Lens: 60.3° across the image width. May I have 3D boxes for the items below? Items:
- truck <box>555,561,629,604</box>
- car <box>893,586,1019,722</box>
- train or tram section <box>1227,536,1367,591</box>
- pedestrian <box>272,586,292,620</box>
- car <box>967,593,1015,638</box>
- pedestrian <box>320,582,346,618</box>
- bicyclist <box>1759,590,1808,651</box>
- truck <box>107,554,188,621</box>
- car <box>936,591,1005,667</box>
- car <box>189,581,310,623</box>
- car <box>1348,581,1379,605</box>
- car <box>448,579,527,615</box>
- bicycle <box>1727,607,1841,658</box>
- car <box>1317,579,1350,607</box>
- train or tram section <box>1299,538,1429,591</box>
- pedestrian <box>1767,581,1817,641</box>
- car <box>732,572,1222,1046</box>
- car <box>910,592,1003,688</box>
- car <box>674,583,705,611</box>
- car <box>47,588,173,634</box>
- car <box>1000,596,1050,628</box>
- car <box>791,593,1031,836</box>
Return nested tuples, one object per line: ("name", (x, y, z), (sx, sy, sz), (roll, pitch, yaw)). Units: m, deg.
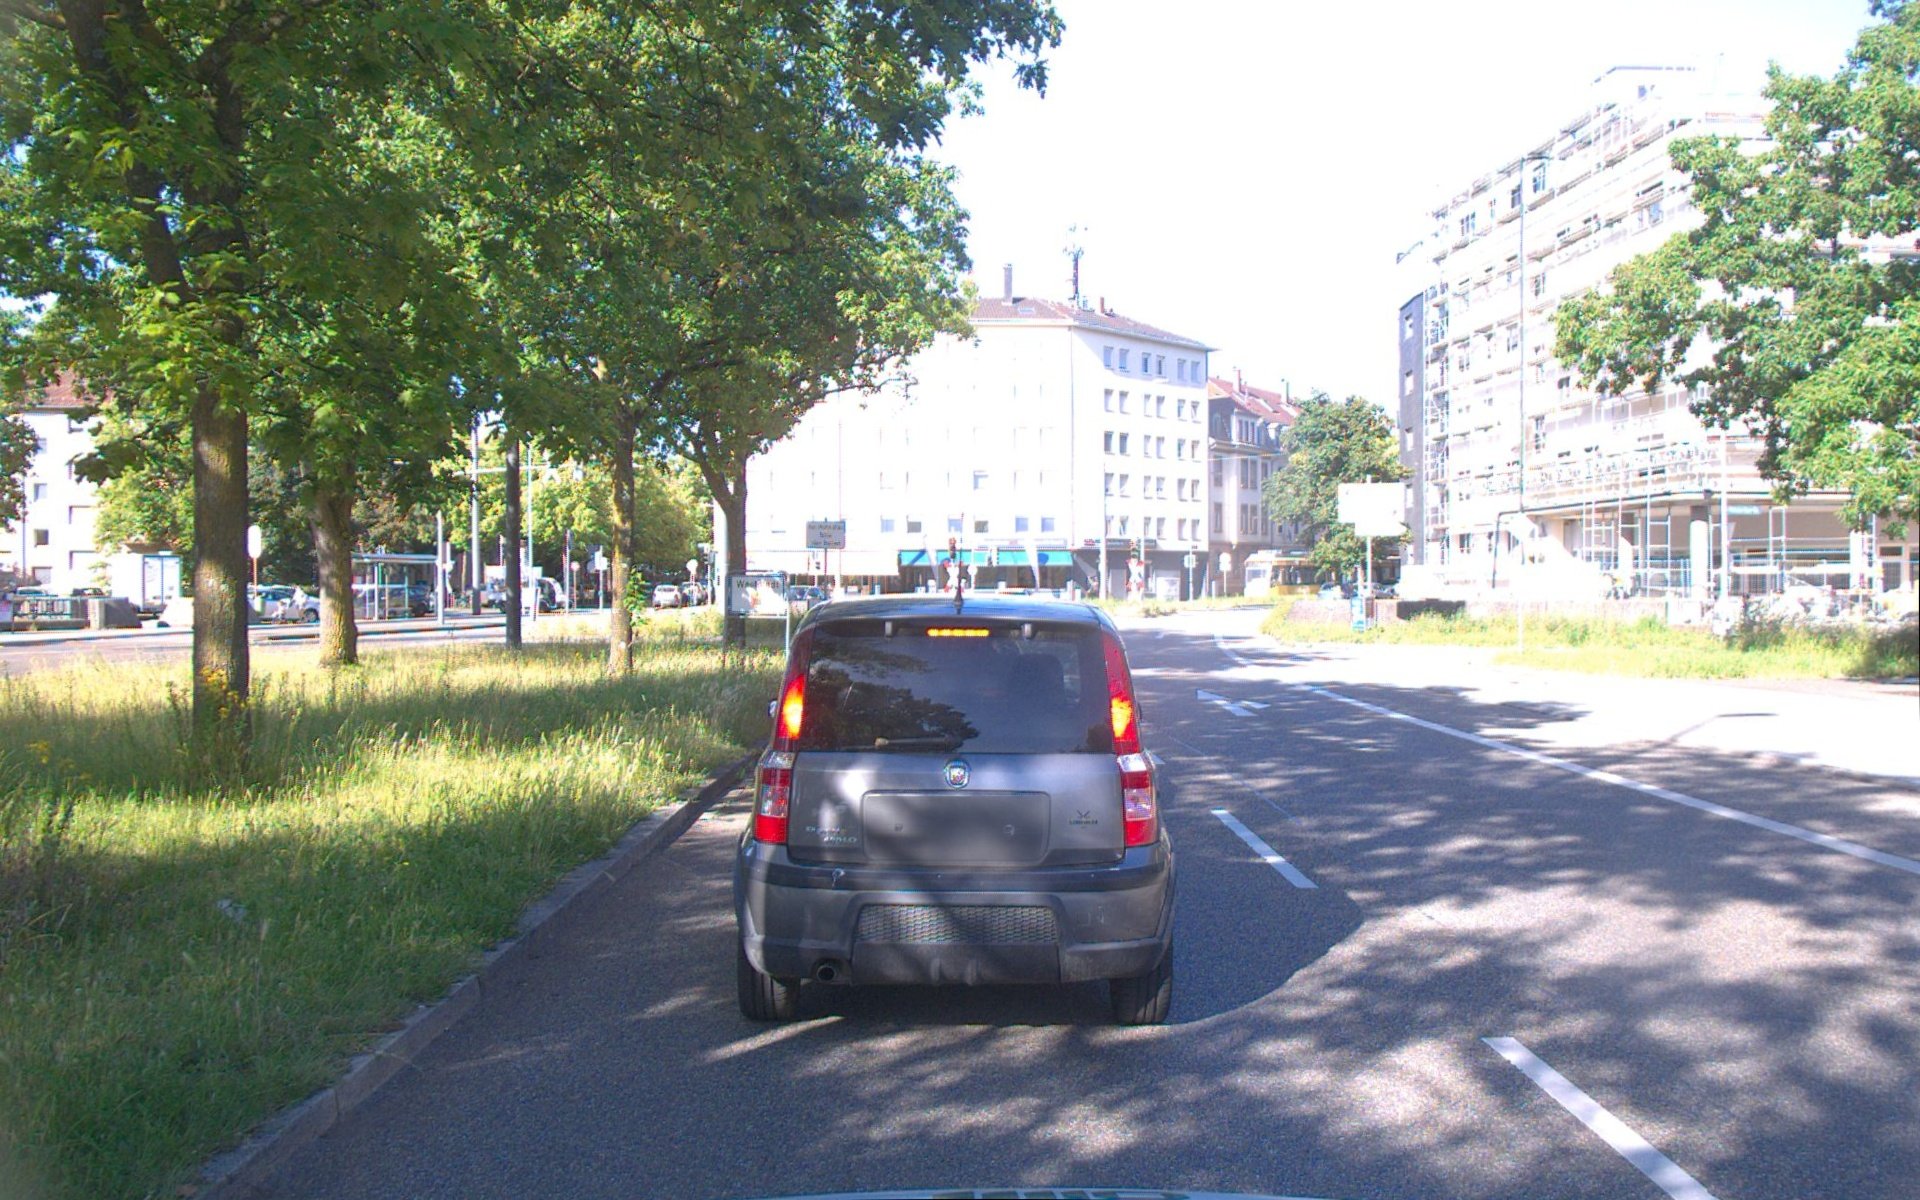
("truck", (-28.358, -1.348, 127.367), (5.371, 3.224, 2.341), (0, 0, 28))
("car", (-0.073, 0.603, 20.671), (1.434, 1.534, 3.504), (0, 1, -1))
("train or tram section", (24.062, -2.474, 116.538), (3.236, 3.574, 19.337), (0, 1, 32))
("pedestrian", (-28.399, 0.121, 69.280), (0.407, 1.415, 0.626), (0, 0, 26))
("car", (0.918, 0.444, 49.605), (1.328, 1.304, 2.875), (0, 1, -1))
("pedestrian", (-29.295, -0.002, 77.294), (0.904, 1.636, 0.794), (0, 0, 38))
("bicyclist", (20.321, 0.504, 40.842), (0.825, 1.463, 0.744), (1, -1, 0))
("truck", (-35.743, -0.550, 72.689), (3.932, 2.854, 1.987), (0, 1, 44))
("car", (0.177, 0.556, 33.860), (1.328, 1.475, 3.265), (0, 0, -1))
("car", (-29.954, 0.051, 69.783), (1.961, 1.713, 4.302), (0, 1, 38))
("car", (23.010, -0.390, 94.241), (1.495, 1.337, 3.289), (0, 1, 17))
("car", (-27.933, -0.180, 97.836), (4.093, 2.049, 1.930), (0, 0, -3))
("bicycle", (20.331, 0.792, 40.854), (2.460, 1.219, 0.710), (1, 0, 0))
("car", (20.505, -0.389, 90.711), (1.646, 1.475, 3.574), (0, 1, 15))
("train or tram section", (31.685, -2.698, 128.563), (3.237, 3.836, 20.752), (0, 1, 33))
("pedestrian", (23.824, 0.299, 47.378), (0.879, 1.682, 0.977), (-1, 0, -30))
("car", (0.030, 0.658, 7.411), (1.595, 1.534, 3.999), (0, 1, -1))
("car", (-0.081, 0.608, 27.277), (1.434, 1.449, 3.381), (0, 1, -1))
("car", (-20.153, -0.238, 123.283), (1.954, 2.049, 3.996), (0, 1, -5))
("car", (-33.575, 0.417, 65.403), (1.961, 1.713, 3.983), (0, 1, 38))
("car", (2.284, 0.403, 57.701), (1.118, 1.083, 2.723), (0, 1, 17))
("car", (-0.319, 0.679, 11.627), (1.434, 1.425, 3.393), (0, 1, -1))
